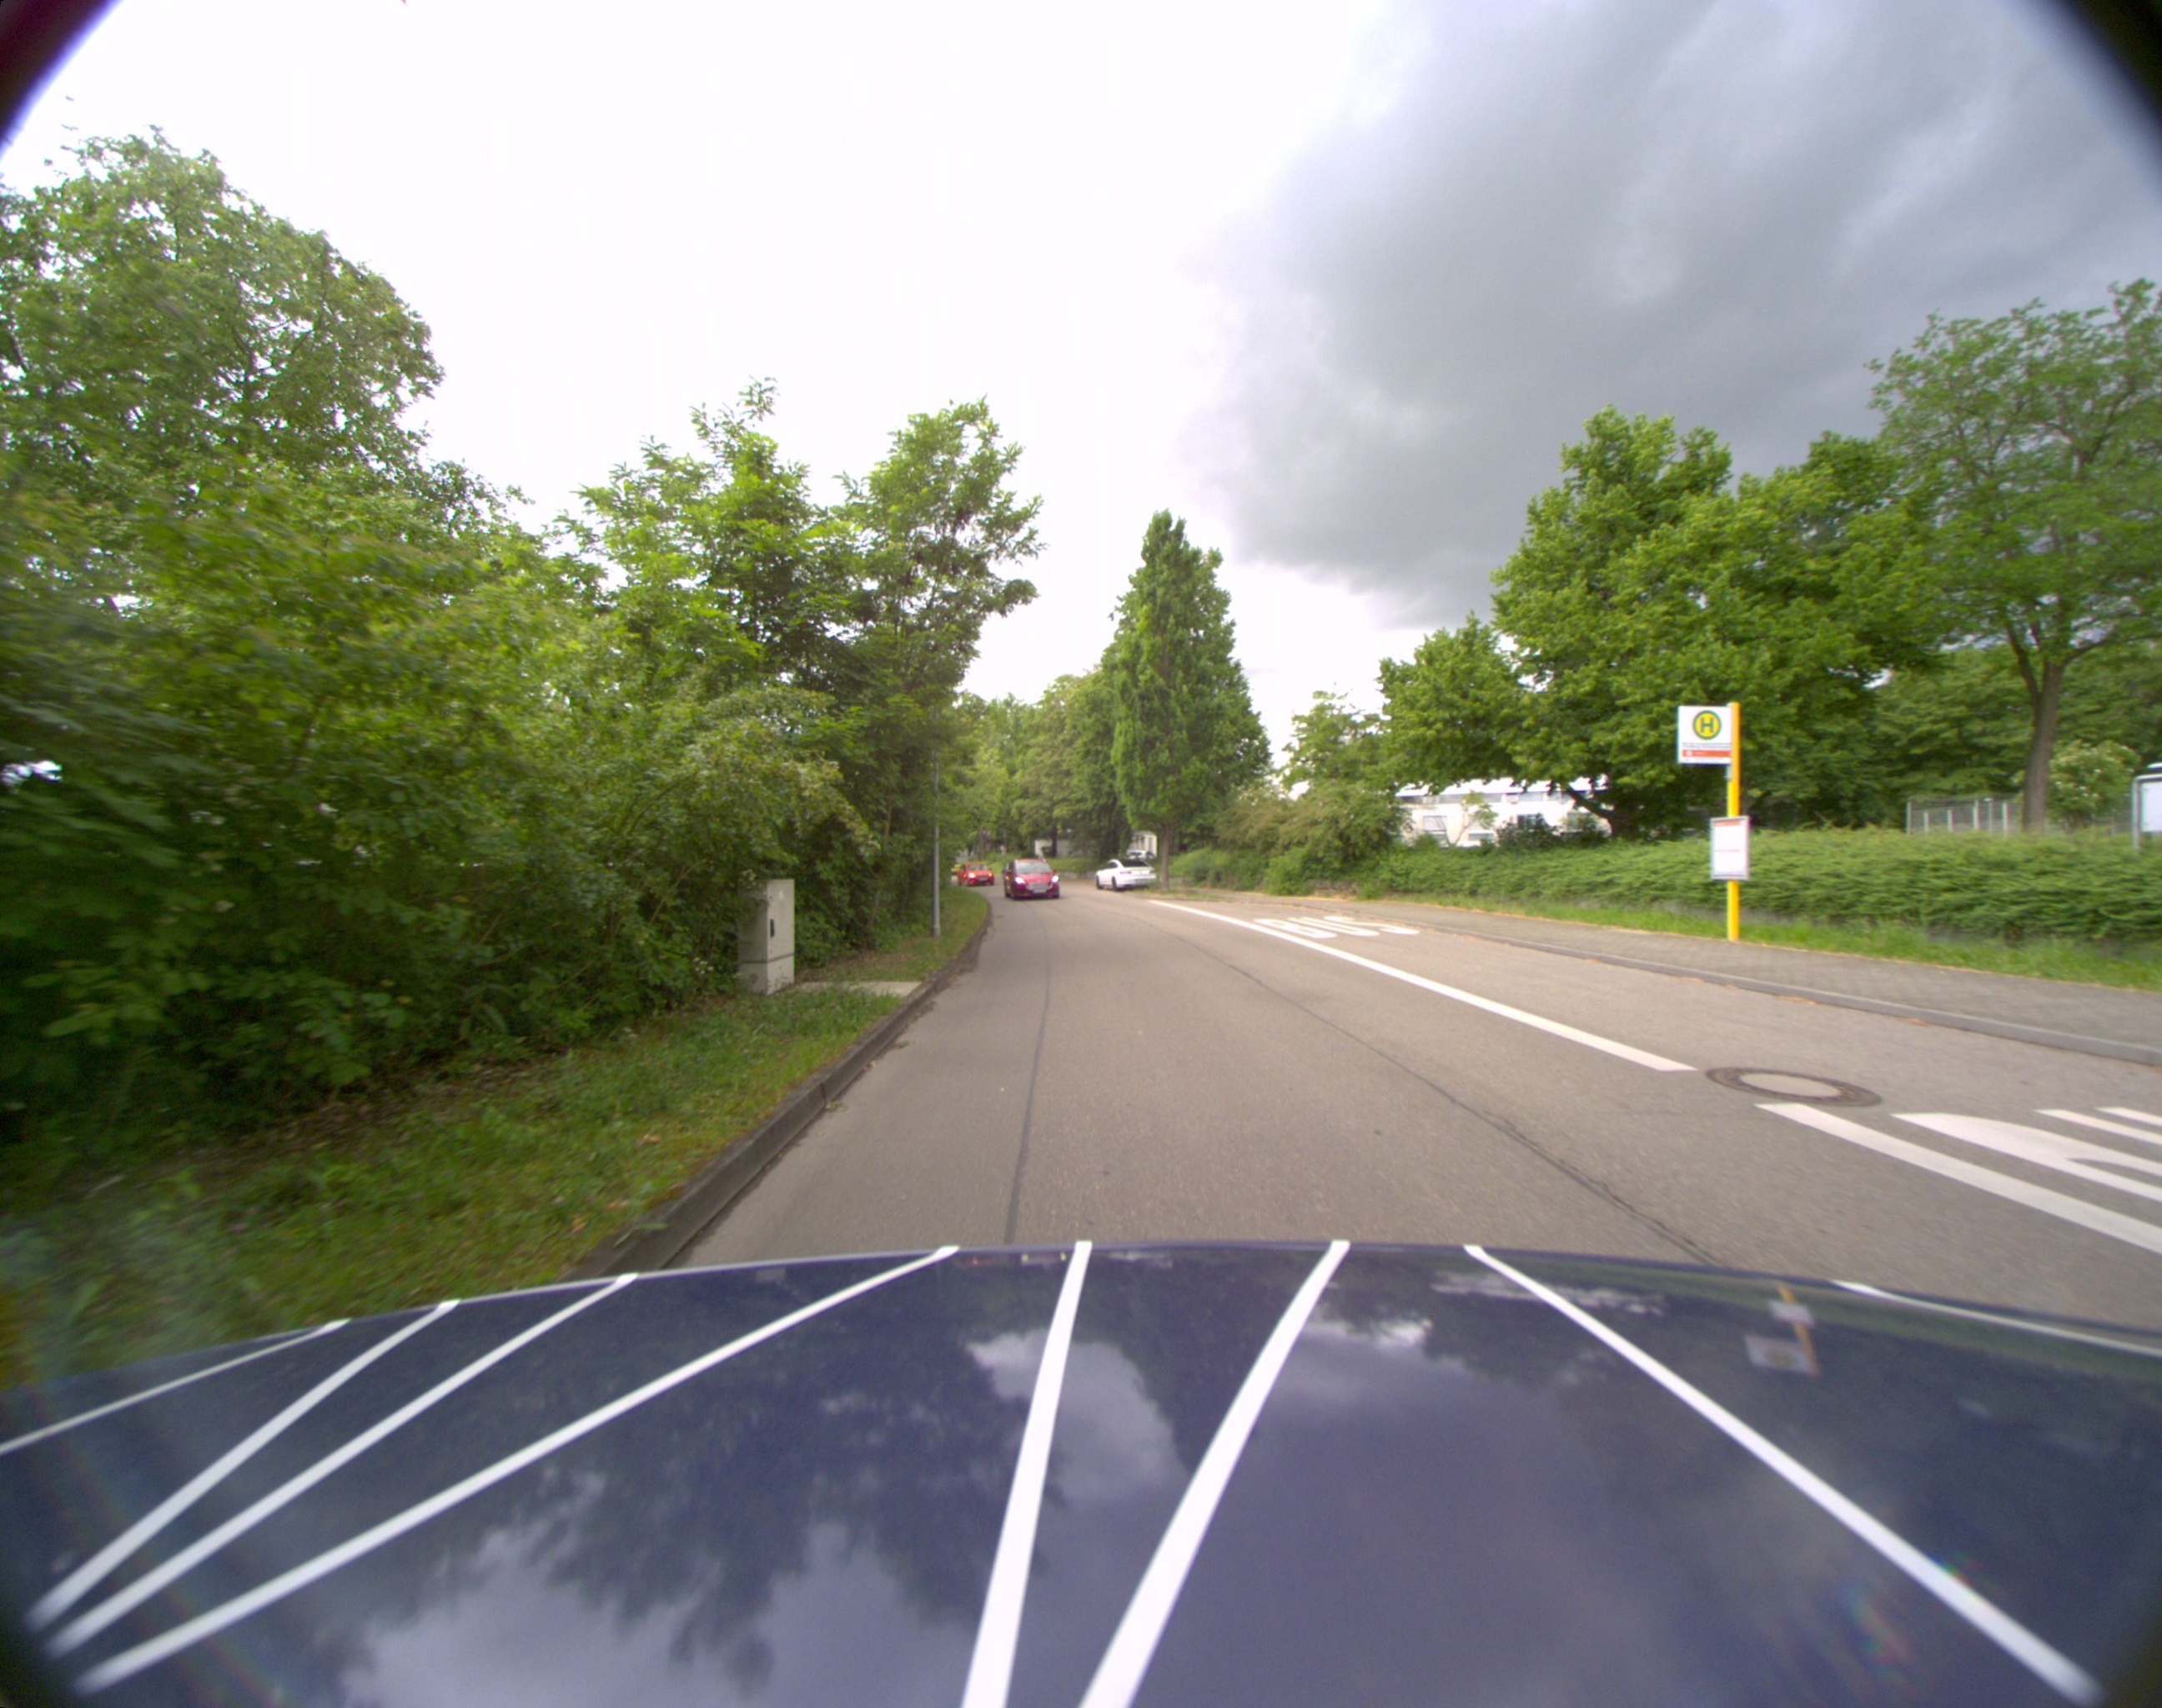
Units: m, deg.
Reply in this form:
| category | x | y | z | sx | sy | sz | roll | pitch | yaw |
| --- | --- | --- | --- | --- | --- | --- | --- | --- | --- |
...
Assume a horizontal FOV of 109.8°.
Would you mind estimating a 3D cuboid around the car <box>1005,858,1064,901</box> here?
| category | x | y | z | sx | sy | sz | roll | pitch | yaw |
| --- | --- | --- | --- | --- | --- | --- | --- | --- | --- |
| car | -2.016 | 1.011 | 31.729 | 1.947 | 1.550 | 4.352 | -2 | 1 | -9 |

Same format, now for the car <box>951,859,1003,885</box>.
| category | x | y | z | sx | sy | sz | roll | pitch | yaw |
| --- | --- | --- | --- | --- | --- | --- | --- | --- | --- |
| car | -6.655 | 1.136 | 48.304 | 1.951 | 1.522 | 4.078 | -2 | 0 | -27 |

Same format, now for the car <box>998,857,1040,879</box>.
| category | x | y | z | sx | sy | sz | roll | pitch | yaw |
| --- | --- | --- | --- | --- | --- | --- | --- | --- | --- |
| car | -4.681 | 1.034 | 56.949 | 1.856 | 1.483 | 3.992 | -1 | 0 | -26 |

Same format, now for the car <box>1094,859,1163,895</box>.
| category | x | y | z | sx | sy | sz | roll | pitch | yaw |
| --- | --- | --- | --- | --- | --- | --- | --- | --- | --- |
| car | 2.050 | 0.989 | 34.392 | 1.854 | 1.483 | 4.631 | -1 | 0 | -13 |

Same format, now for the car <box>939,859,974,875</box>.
| category | x | y | z | sx | sy | sz | roll | pitch | yaw |
| --- | --- | --- | --- | --- | --- | --- | --- | --- | --- |
| car | -11.956 | 1.213 | 72.765 | 1.857 | 1.483 | 3.990 | -1 | 0 | -31 |

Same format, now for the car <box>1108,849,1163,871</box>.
| category | x | y | z | sx | sy | sz | roll | pitch | yaw |
| --- | --- | --- | --- | --- | --- | --- | --- | --- | --- |
| car | 4.351 | 0.503 | 60.933 | 3.802 | 1.629 | 2.003 | -1 | 2 | 31 |
